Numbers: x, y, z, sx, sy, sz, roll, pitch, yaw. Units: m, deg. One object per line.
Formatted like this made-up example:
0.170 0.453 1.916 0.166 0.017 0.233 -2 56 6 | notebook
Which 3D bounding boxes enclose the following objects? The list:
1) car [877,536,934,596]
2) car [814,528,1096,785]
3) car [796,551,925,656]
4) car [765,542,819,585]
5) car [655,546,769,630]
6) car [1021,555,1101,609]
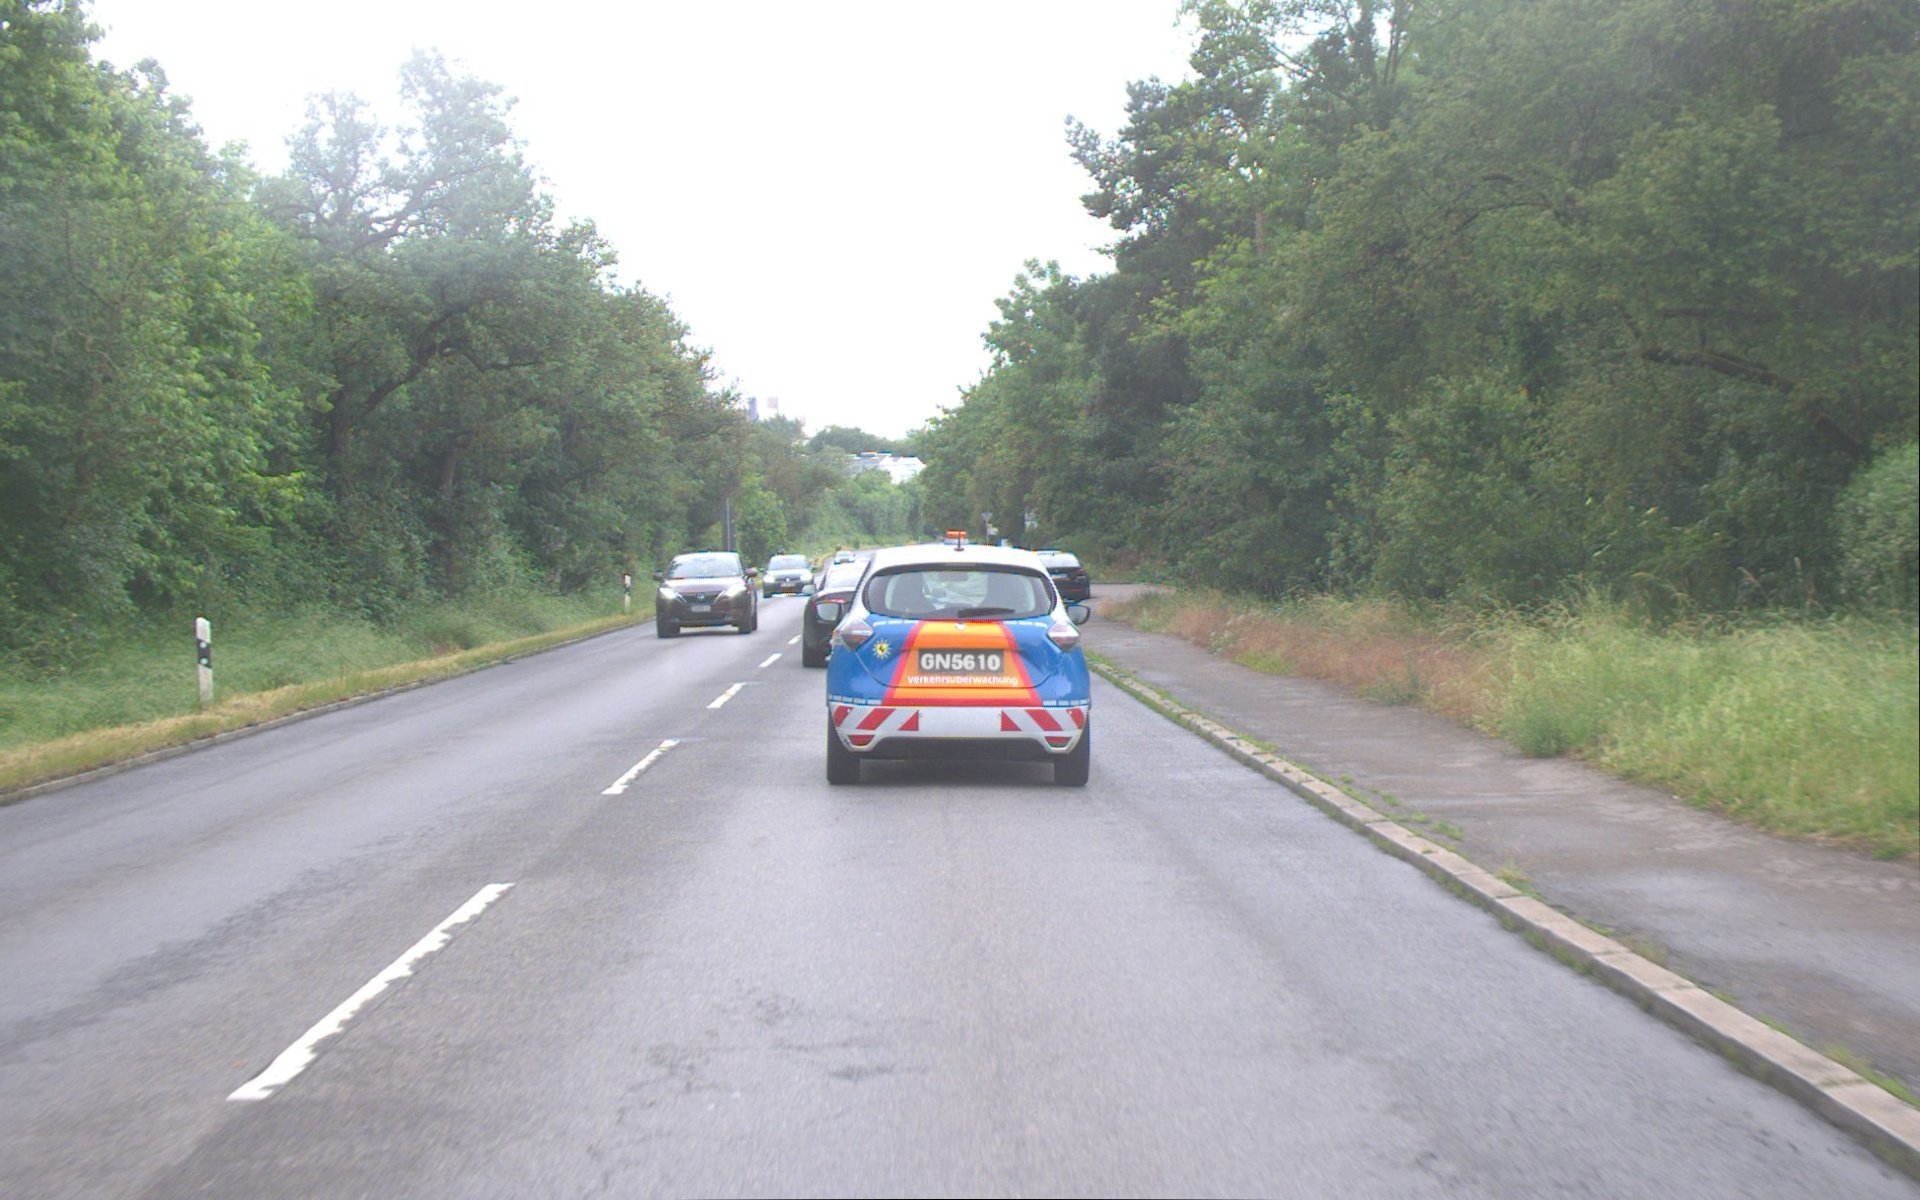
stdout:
-1.778 -1.122 111.321 1.743 1.875 4.000 -1 1 -2 | car
-0.068 0.315 23.363 1.752 1.550 3.793 0 2 -1 | car
-1.288 0.020 45.541 1.598 1.282 3.476 -1 1 0 | car
-5.857 -1.273 120.225 1.710 1.394 4.150 -3 1 -2 | car
-4.879 -0.272 68.154 1.905 1.551 4.516 -1 1 0 | car
2.707 -0.512 93.057 1.993 1.371 4.000 -1 1 0 | car
